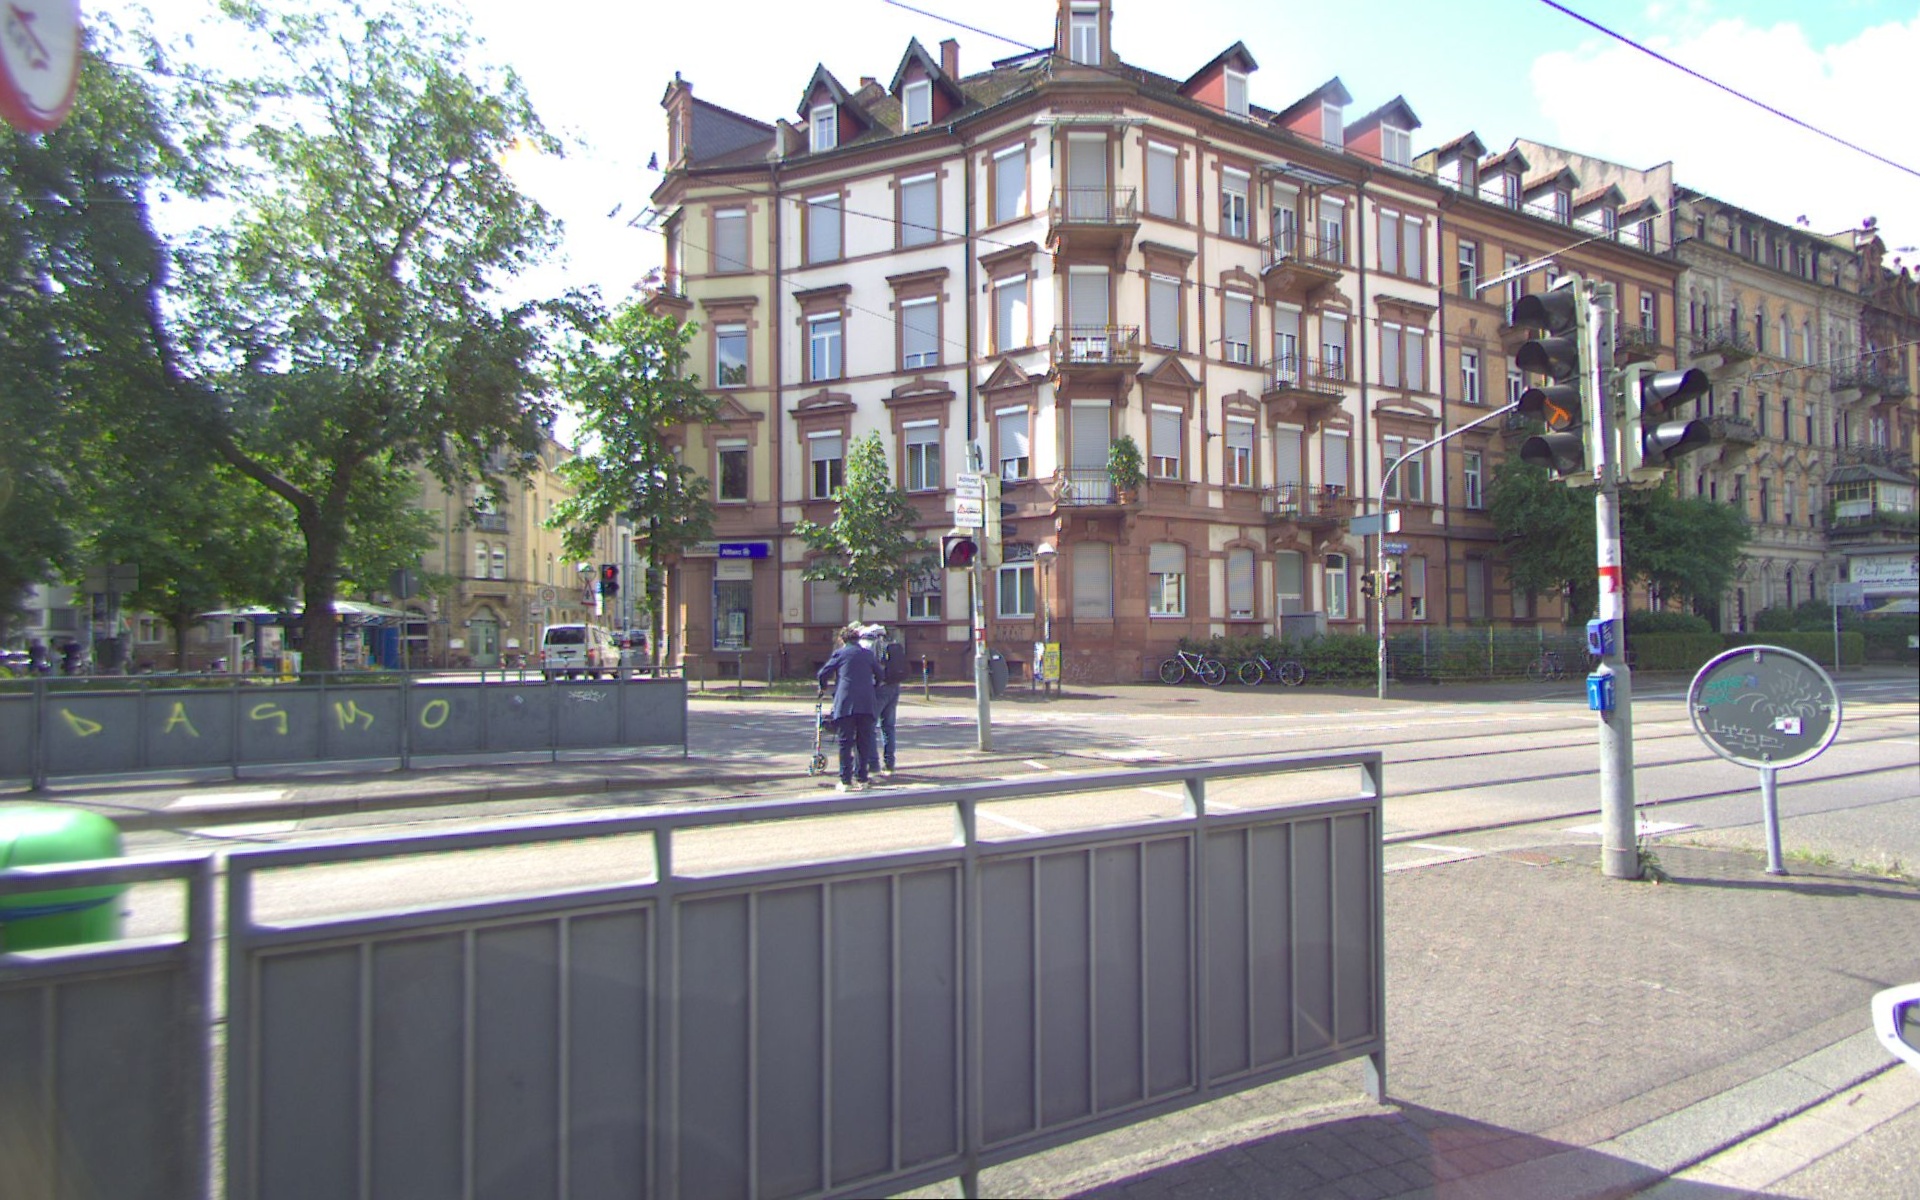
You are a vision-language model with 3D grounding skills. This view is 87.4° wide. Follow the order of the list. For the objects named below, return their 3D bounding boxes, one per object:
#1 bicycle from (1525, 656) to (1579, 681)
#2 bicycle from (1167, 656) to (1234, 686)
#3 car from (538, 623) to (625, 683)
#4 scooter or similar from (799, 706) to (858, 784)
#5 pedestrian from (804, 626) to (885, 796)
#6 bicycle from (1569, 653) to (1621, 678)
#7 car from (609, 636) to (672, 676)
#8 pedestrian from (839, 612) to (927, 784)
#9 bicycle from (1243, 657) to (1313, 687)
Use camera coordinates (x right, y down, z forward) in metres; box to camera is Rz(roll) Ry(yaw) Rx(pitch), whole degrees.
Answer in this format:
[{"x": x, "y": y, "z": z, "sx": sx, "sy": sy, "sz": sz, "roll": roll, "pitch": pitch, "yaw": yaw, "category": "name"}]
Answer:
[{"x": 16.564, "y": 1.914, "z": 28.091, "sx": 1.687, "sy": 0.662, "sz": 0.384, "roll": 0, "pitch": -2, "yaw": -24, "category": "bicycle"}, {"x": 6.338, "y": 1.863, "z": 26.477, "sx": 1.676, "sy": 0.757, "sz": 0.386, "roll": -1, "pitch": -2, "yaw": 8, "category": "bicycle"}, {"x": -13.340, "y": 1.842, "z": 35.628, "sx": 1.821, "sy": 2.015, "sz": 3.946, "roll": 0, "pitch": -2, "yaw": -4, "category": "car"}, {"x": -1.341, "y": 1.458, "z": 10.193, "sx": 0.480, "sy": 0.730, "sz": 0.412, "roll": 0, "pitch": -2, "yaw": -28, "category": "scooter or similar"}, {"x": -1.123, "y": 1.041, "z": 9.706, "sx": 0.573, "sy": 1.566, "sz": 0.665, "roll": 0, "pitch": -2, "yaw": -28, "category": "pedestrian"}, {"x": 18.456, "y": 1.886, "z": 29.178, "sx": 1.687, "sy": 0.686, "sz": 0.384, "roll": 0, "pitch": -2, "yaw": -24, "category": "bicycle"}, {"x": -14.407, "y": 2.506, "z": 45.532, "sx": 1.880, "sy": 1.685, "sz": 3.939, "roll": 0, "pitch": -2, "yaw": -5, "category": "car"}, {"x": -0.806, "y": 0.982, "z": 10.431, "sx": 0.659, "sy": 1.696, "sz": 0.768, "roll": 0, "pitch": -2, "yaw": -28, "category": "pedestrian"}, {"x": 8.283, "y": 1.886, "z": 26.208, "sx": 1.676, "sy": 0.757, "sz": 0.386, "roll": -1, "pitch": -2, "yaw": 8, "category": "bicycle"}]
